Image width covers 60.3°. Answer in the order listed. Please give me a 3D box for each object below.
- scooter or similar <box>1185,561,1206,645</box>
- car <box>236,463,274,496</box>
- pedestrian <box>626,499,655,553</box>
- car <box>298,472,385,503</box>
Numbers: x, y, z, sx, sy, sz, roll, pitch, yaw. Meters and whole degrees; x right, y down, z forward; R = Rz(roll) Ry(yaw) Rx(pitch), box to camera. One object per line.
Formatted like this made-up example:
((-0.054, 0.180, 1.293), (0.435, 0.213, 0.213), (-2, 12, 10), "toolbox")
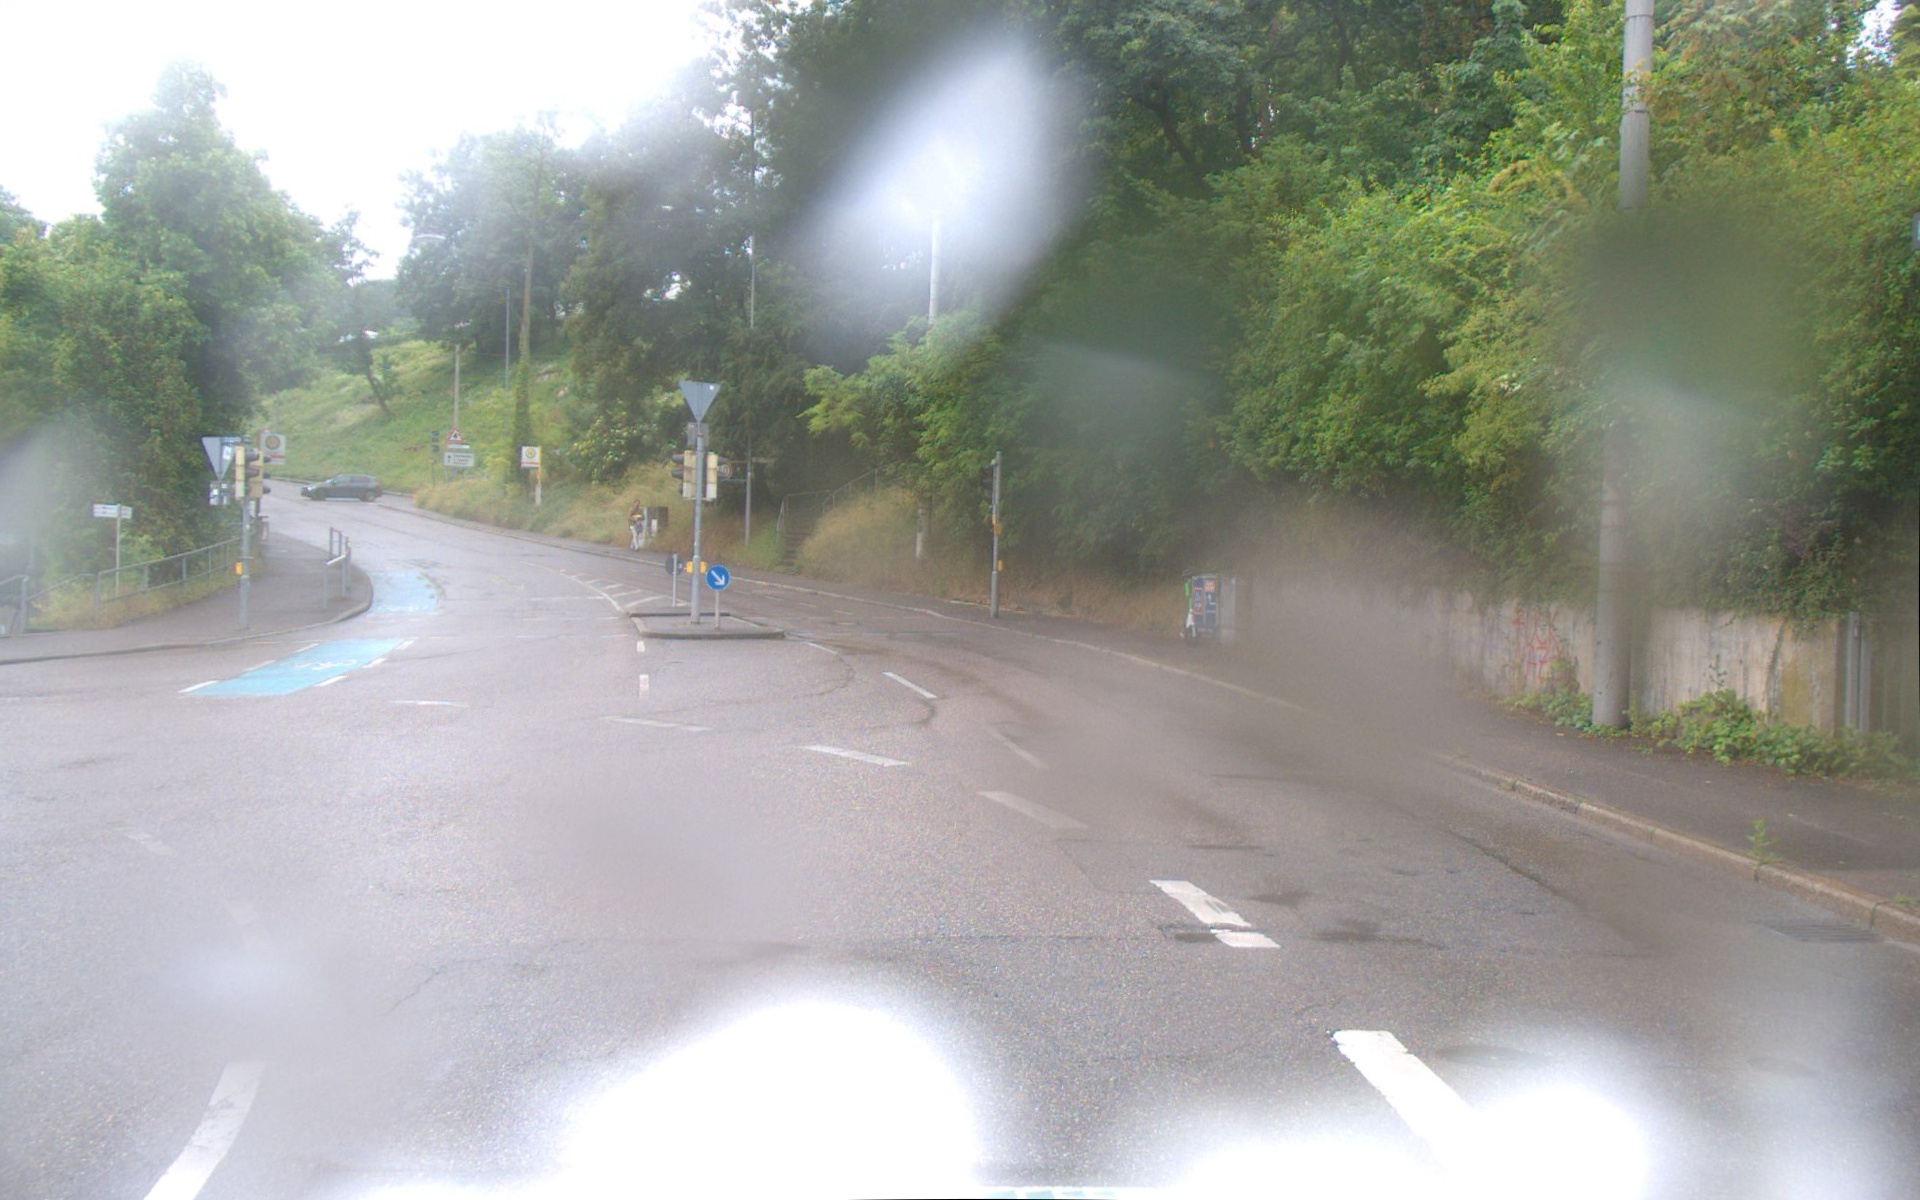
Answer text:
((3.779, 0.034, 26.542), (0.315, 1.302, 0.752), (0, 3, 7), "scooter or similar")
((-49.401, -8.450, 115.966), (2.034, 2.041, 4.791), (1, 1, -18), "car")
((-10.935, -2.522, 56.594), (0.867, 1.767, 0.861), (1, -1, -18), "pedestrian")
((-34.292, -6.243, 91.699), (4.335, 1.538, 1.947), (1, 3, -26), "car")
